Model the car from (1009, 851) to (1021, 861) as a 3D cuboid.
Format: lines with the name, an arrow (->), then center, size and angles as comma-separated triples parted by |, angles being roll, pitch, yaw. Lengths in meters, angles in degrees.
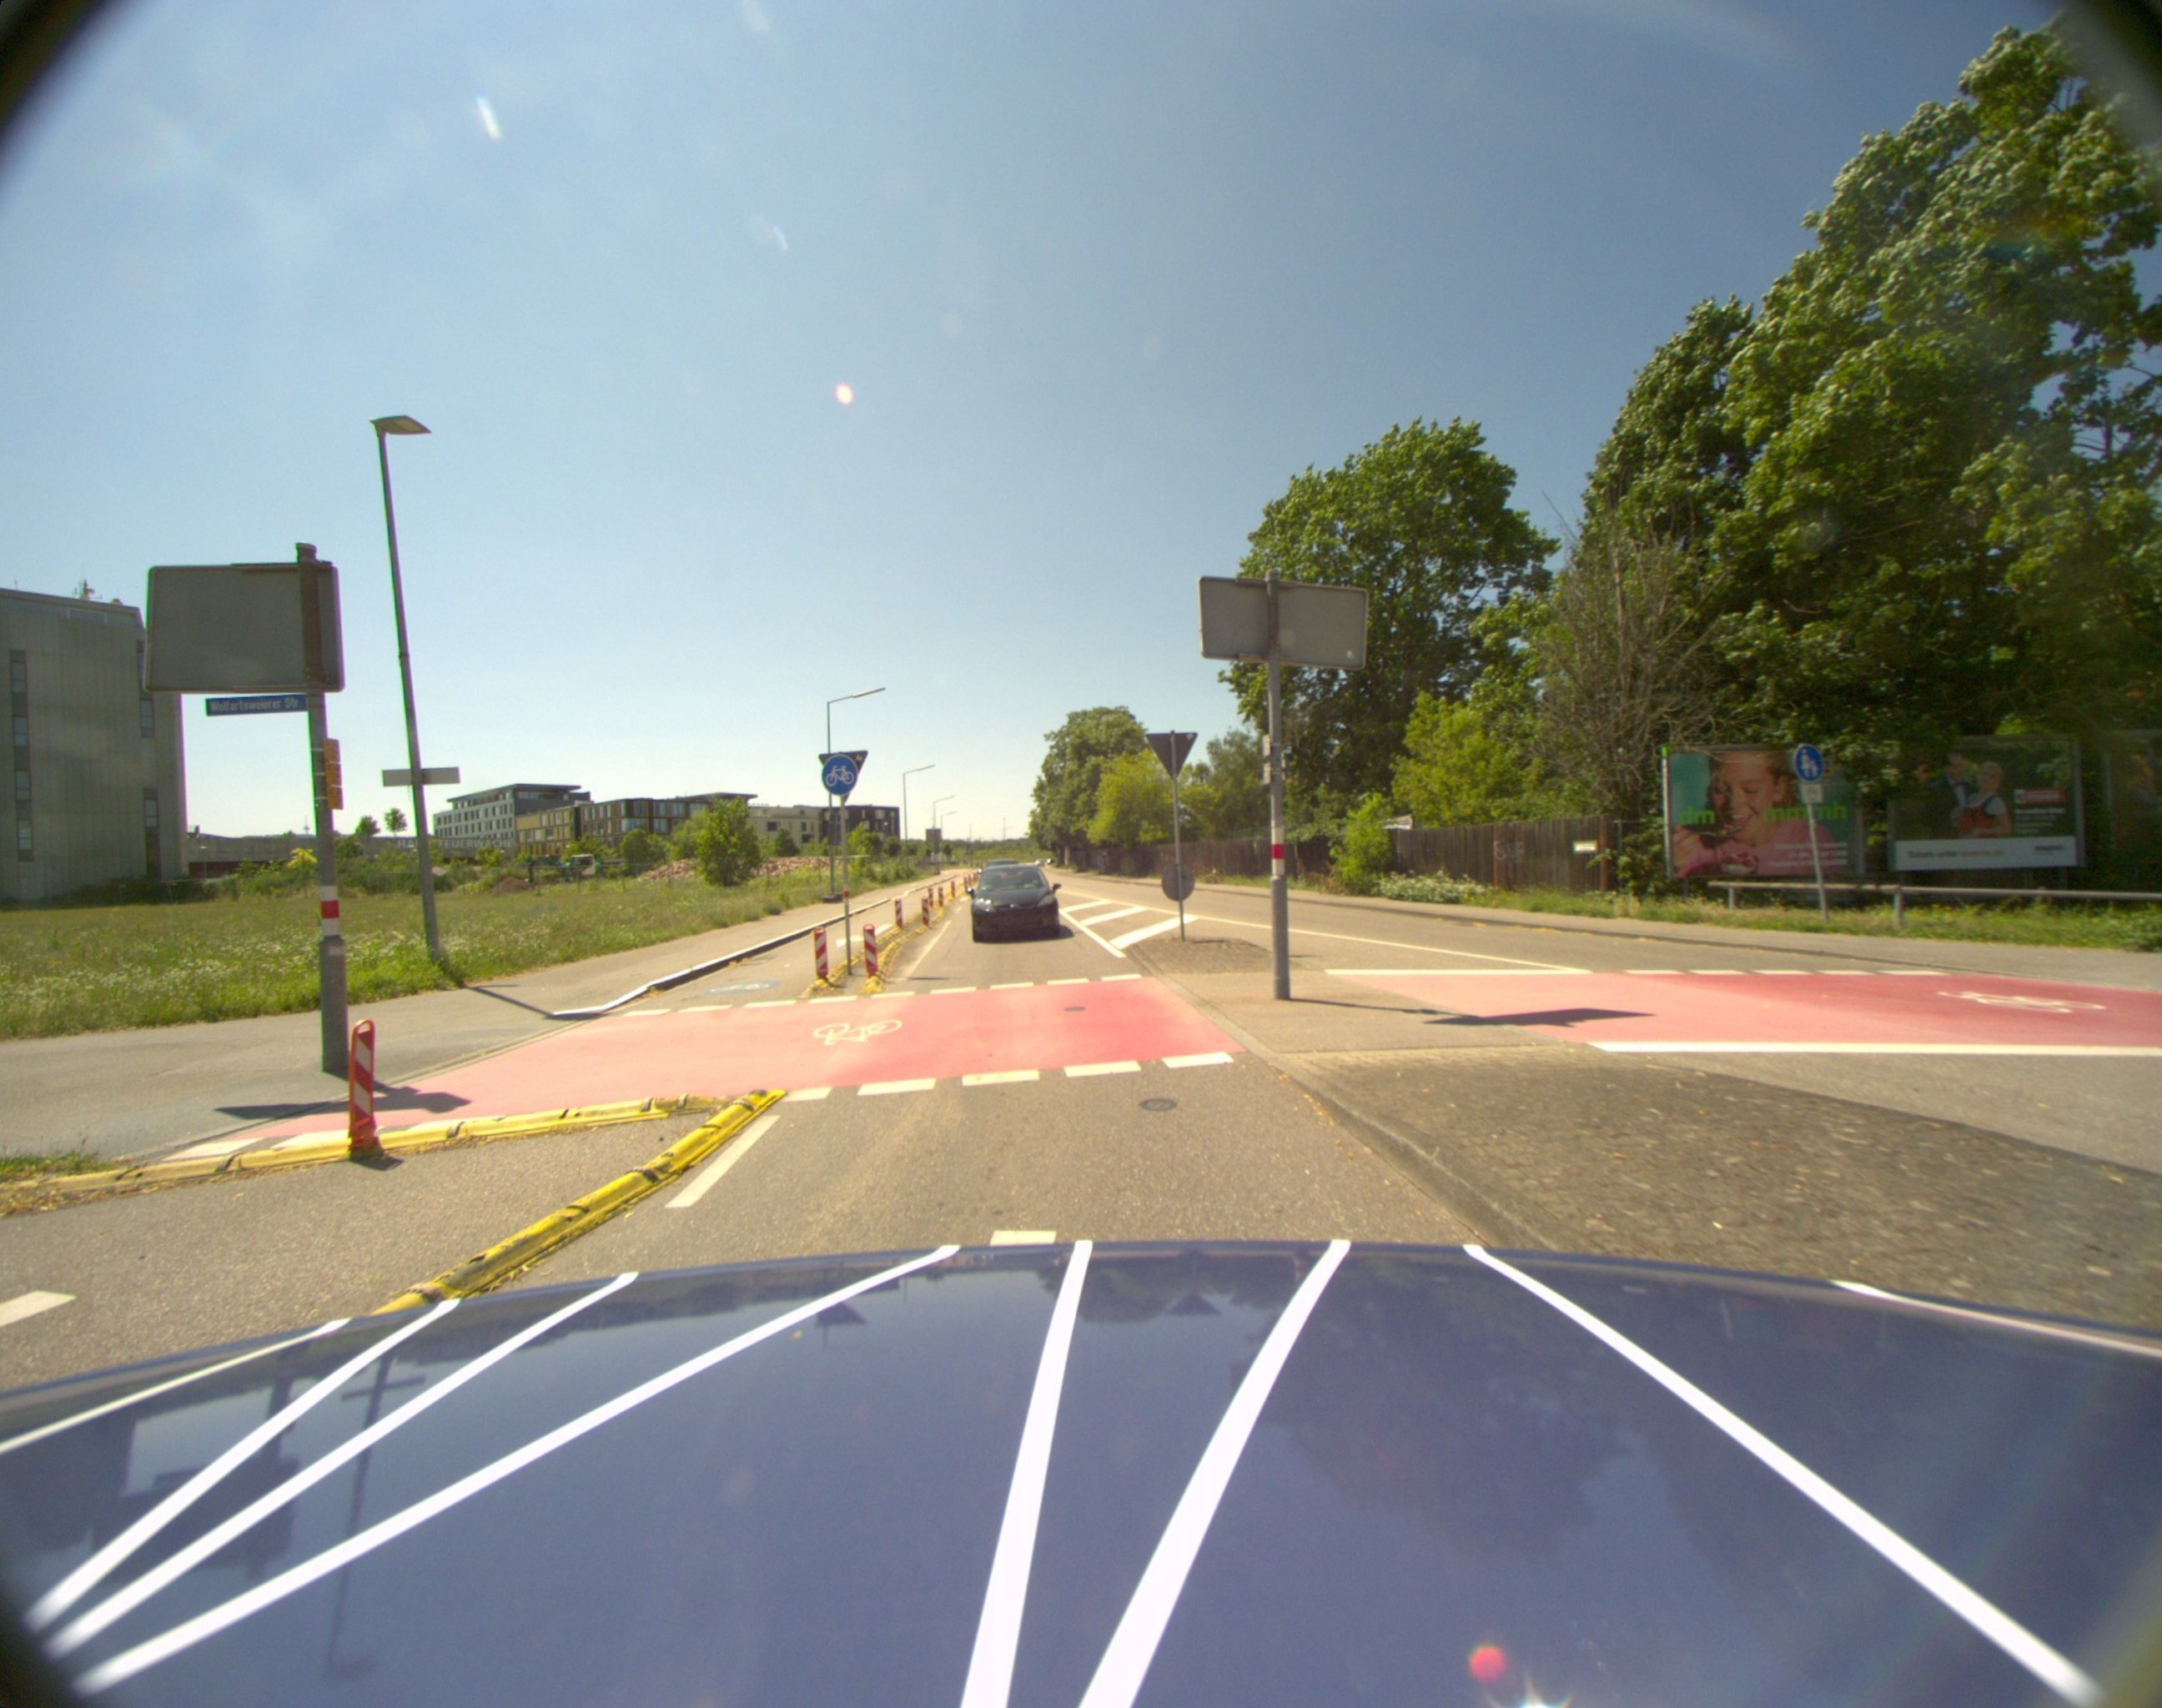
car -> -10.913, 0.349, 125.204 | 1.760, 1.536, 3.691 | -2, 0, -8

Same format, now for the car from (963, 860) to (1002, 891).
car -> -5.063, 1.083, 39.405 | 1.863, 1.420, 3.998 | -3, 0, -6

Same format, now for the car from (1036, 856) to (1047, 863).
car -> -8.078, 1.152, 155.359 | 1.720, 1.455, 3.839 | -1, 0, -11

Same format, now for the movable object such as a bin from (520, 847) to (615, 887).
movable object such as a bin -> -44.692, 1.014, 66.472 | 2.812, 3.131, 7.605 | -3, 1, 2

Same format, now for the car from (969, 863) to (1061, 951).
car -> -1.366, 0.983, 15.702 | 1.633, 1.499, 3.817 | -2, 0, -5

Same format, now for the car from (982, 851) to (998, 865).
car -> -10.830, 0.476, 89.963 | 1.760, 1.536, 3.691 | -2, 0, -8

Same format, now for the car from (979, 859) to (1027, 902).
car -> -3.051, 0.985, 30.117 | 1.721, 1.518, 4.209 | -2, 0, -5
